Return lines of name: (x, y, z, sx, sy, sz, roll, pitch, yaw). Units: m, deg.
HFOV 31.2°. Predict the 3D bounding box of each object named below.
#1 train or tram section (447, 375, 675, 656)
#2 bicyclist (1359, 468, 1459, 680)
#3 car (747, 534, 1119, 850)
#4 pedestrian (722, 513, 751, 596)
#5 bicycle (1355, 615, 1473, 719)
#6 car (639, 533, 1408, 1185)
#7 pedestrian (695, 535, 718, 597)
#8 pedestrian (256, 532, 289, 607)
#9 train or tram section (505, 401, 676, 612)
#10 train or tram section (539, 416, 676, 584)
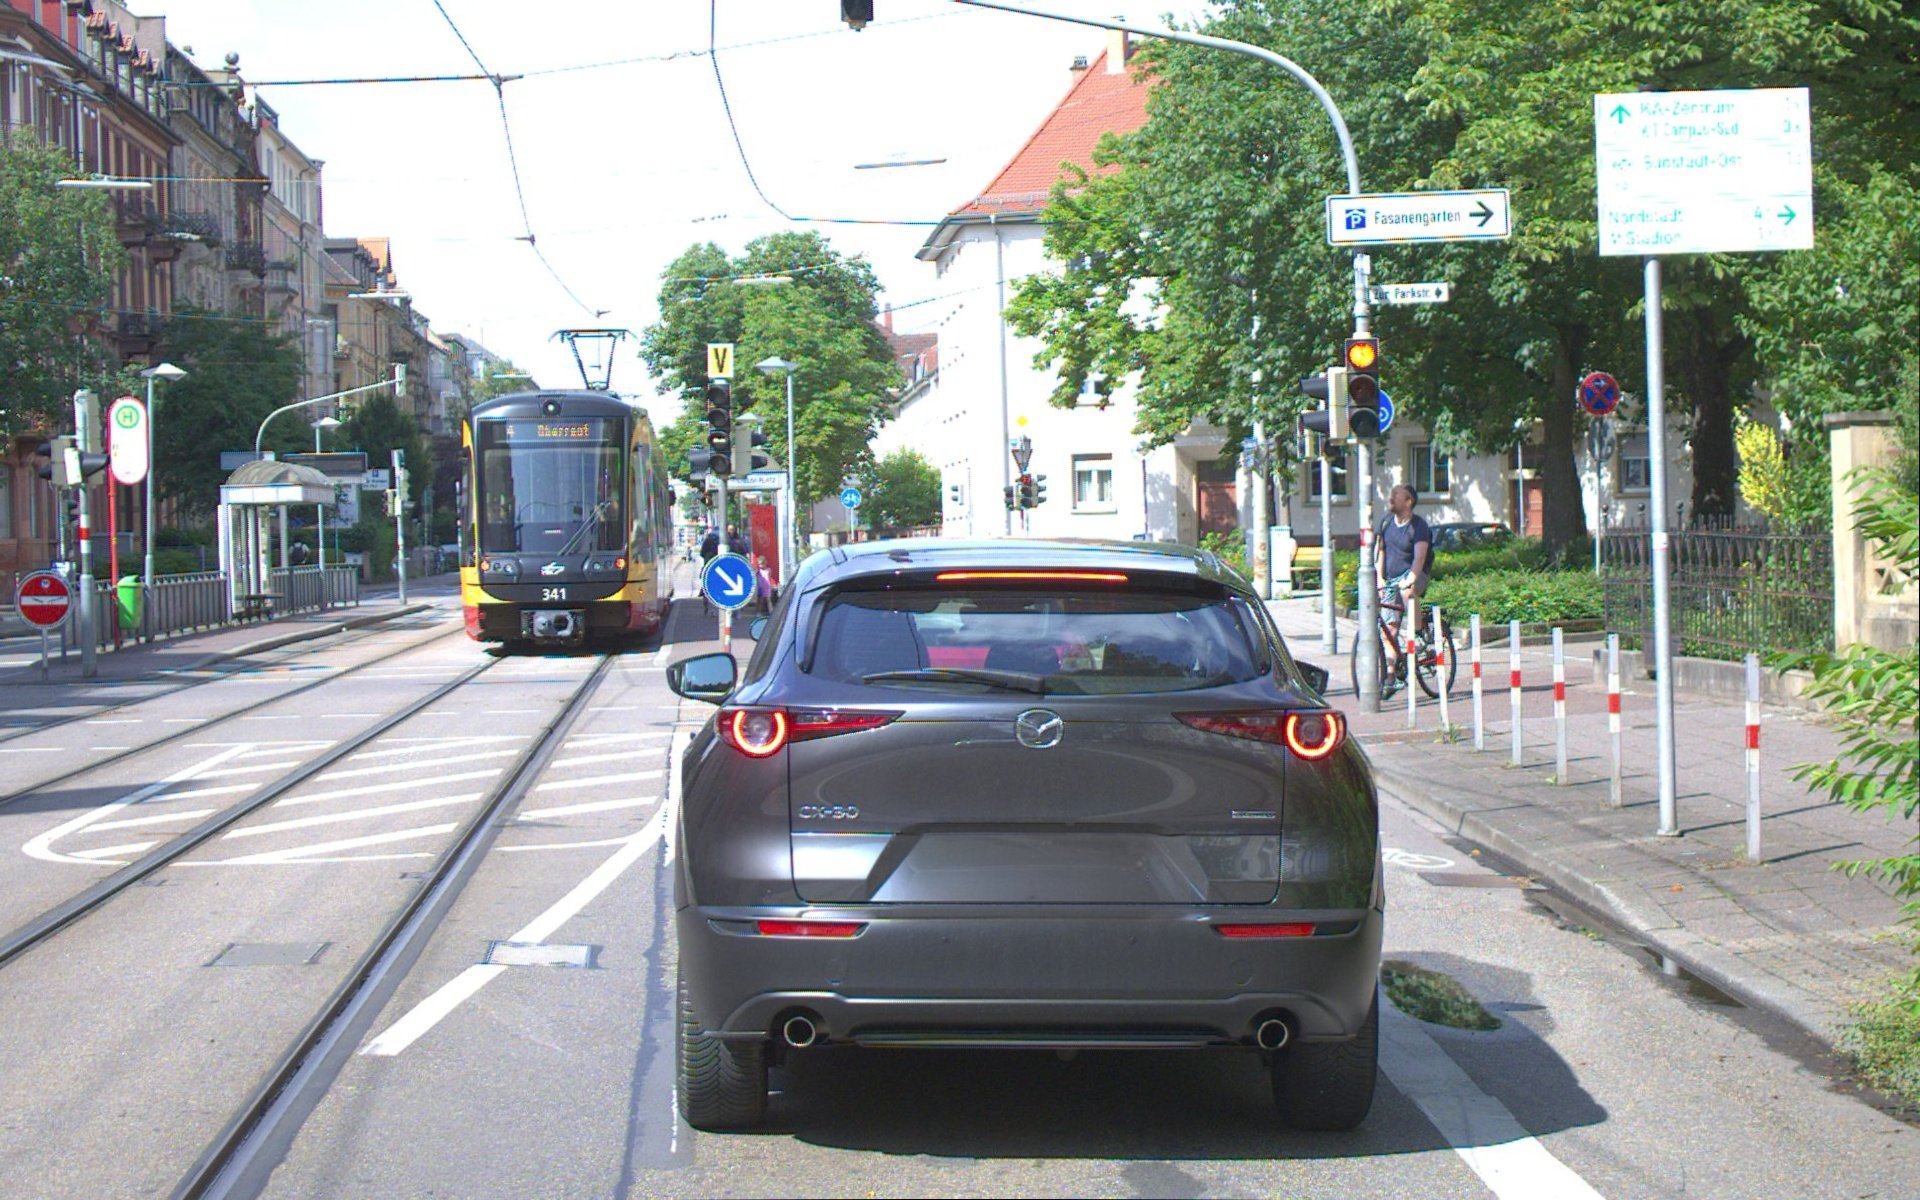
train or tram section: (-5.624, -1.328, 50.556, 2.752, 3.478, 14.411, -1, 2, -5)
bicyclist: (3.841, -0.222, 29.386, 0.657, 1.786, 0.609, -1, 1, 26)
car: (-0.167, 0.409, 18.650, 1.778, 1.494, 4.000, 1, 1, -1)
pedestrian: (-3.870, -0.789, 59.478, 0.450, 1.429, 0.474, -1, 1, -5)
bicycle: (3.913, 0.564, 29.533, 0.493, 0.821, 1.697, -1, 1, 25)
car: (0.112, 0.570, 10.044, 1.778, 1.494, 4.000, 1, 1, -1)
pedestrian: (-4.378, -0.593, 59.382, 0.379, 1.067, 0.474, -1, 1, -4)
pedestrian: (-12.895, -0.564, 64.476, 0.429, 1.394, 0.398, -1, 1, 30)
train or tram section: (-6.792, -1.831, 64.911, 2.752, 3.478, 14.411, -1, 2, -5)
train or tram section: (-7.974, -2.356, 79.251, 2.752, 3.478, 14.411, -1, 2, -5)
